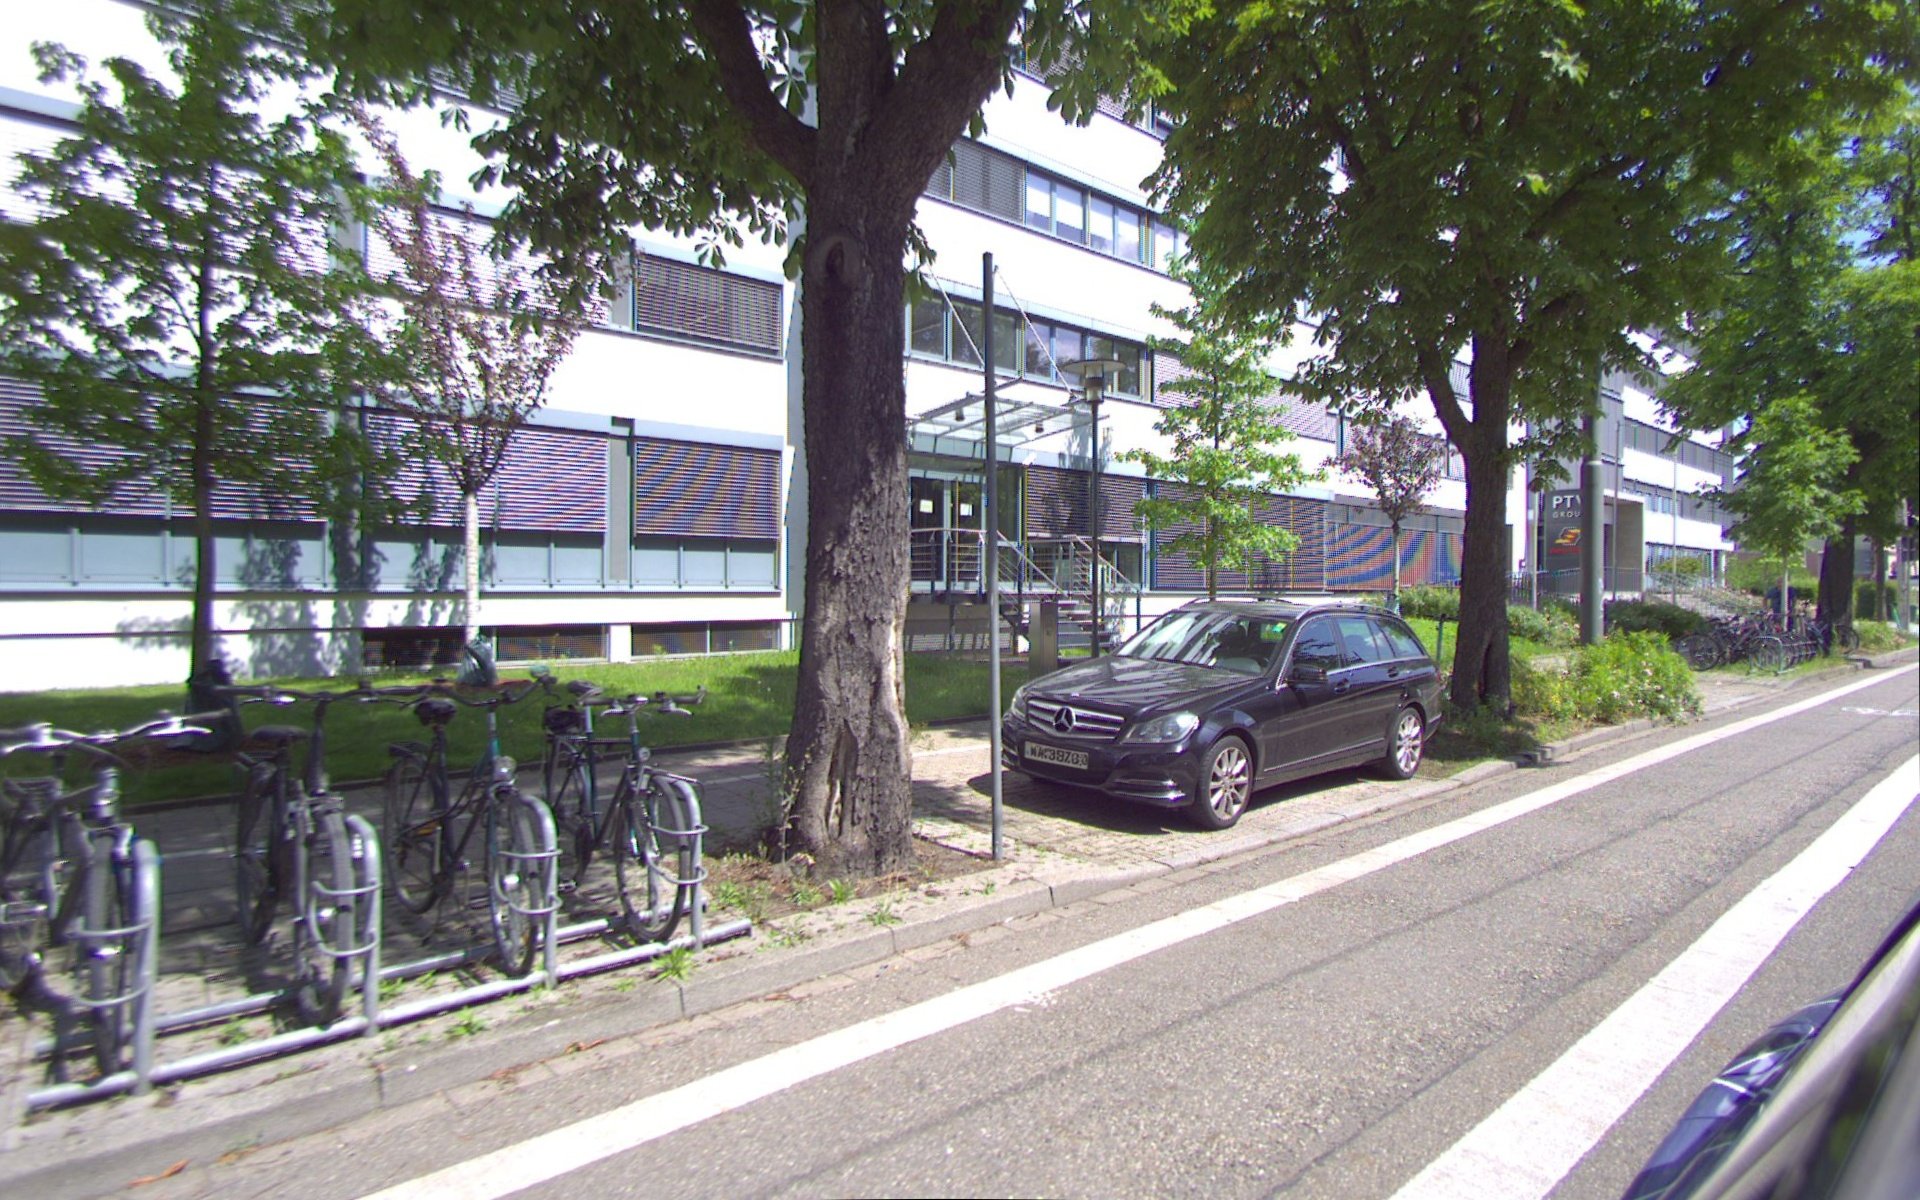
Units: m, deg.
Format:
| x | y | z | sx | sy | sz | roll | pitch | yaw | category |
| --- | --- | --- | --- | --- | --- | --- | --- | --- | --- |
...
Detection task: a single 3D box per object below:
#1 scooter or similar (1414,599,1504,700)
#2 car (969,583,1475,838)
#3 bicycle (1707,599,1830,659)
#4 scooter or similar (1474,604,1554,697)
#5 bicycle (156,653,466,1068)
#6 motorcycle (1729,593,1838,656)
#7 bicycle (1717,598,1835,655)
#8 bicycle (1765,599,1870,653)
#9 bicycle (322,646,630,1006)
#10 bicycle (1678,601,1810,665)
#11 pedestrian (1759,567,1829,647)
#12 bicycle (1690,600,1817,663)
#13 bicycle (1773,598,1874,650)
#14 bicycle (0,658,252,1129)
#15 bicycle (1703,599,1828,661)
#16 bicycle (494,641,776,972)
| x | y | z | sx | sy | sz | roll | pitch | yaw | category |
| --- | --- | --- | --- | --- | --- | --- | --- | --- | --- |
| 6.529 | 0.616 | 13.213 | 1.361 | 1.223 | 0.540 | 0 | 2 | -41 | scooter or similar |
| 2.325 | 0.628 | 8.142 | 4.554 | 1.485 | 1.679 | -1 | 2 | -41 | car |
| 15.860 | 0.558 | 19.888 | 0.560 | 1.125 | 1.809 | 0 | -1 | -43 | bicycle |
| 7.913 | 0.693 | 14.431 | 1.361 | 1.223 | 0.540 | 0 | 2 | -41 | scooter or similar |
| -2.537 | 0.832 | 3.860 | 1.806 | 1.125 | 0.525 | 2 | 1 | 42 | bicycle |
| 17.795 | 0.508 | 21.894 | 1.813 | 1.293 | 0.710 | 0 | 0 | 43 | motorcycle |
| 16.669 | 0.540 | 20.713 | 0.560 | 1.125 | 1.809 | 0 | -1 | -43 | bicycle |
| 19.543 | 0.566 | 23.079 | 1.813 | 1.179 | 0.700 | 1 | 0 | 43 | bicycle |
| -2.123 | 0.823 | 4.314 | 1.806 | 1.125 | 0.528 | 2 | 1 | 42 | bicycle |
| 14.449 | 0.592 | 18.682 | 0.560 | 1.125 | 1.842 | 0 | -1 | -43 | bicycle |
| 19.622 | 0.156 | 23.823 | 0.967 | 1.856 | 0.787 | 0 | 0 | 7 | pedestrian |
| 14.950 | 0.580 | 19.113 | 0.560 | 1.125 | 1.809 | 0 | -1 | -43 | bicycle |
| 20.452 | 0.548 | 23.991 | 1.813 | 1.179 | 0.700 | 1 | 0 | 43 | bicycle |
| -3.023 | 0.827 | 3.435 | 1.803 | 1.125 | 0.483 | 2 | 1 | 37 | bicycle |
| 15.469 | 0.566 | 19.474 | 0.560 | 1.125 | 1.809 | 0 | -1 | -43 | bicycle |
| -1.555 | 0.809 | 4.633 | 0.505 | 1.125 | 1.810 | 0 | 2 | -43 | bicycle |
